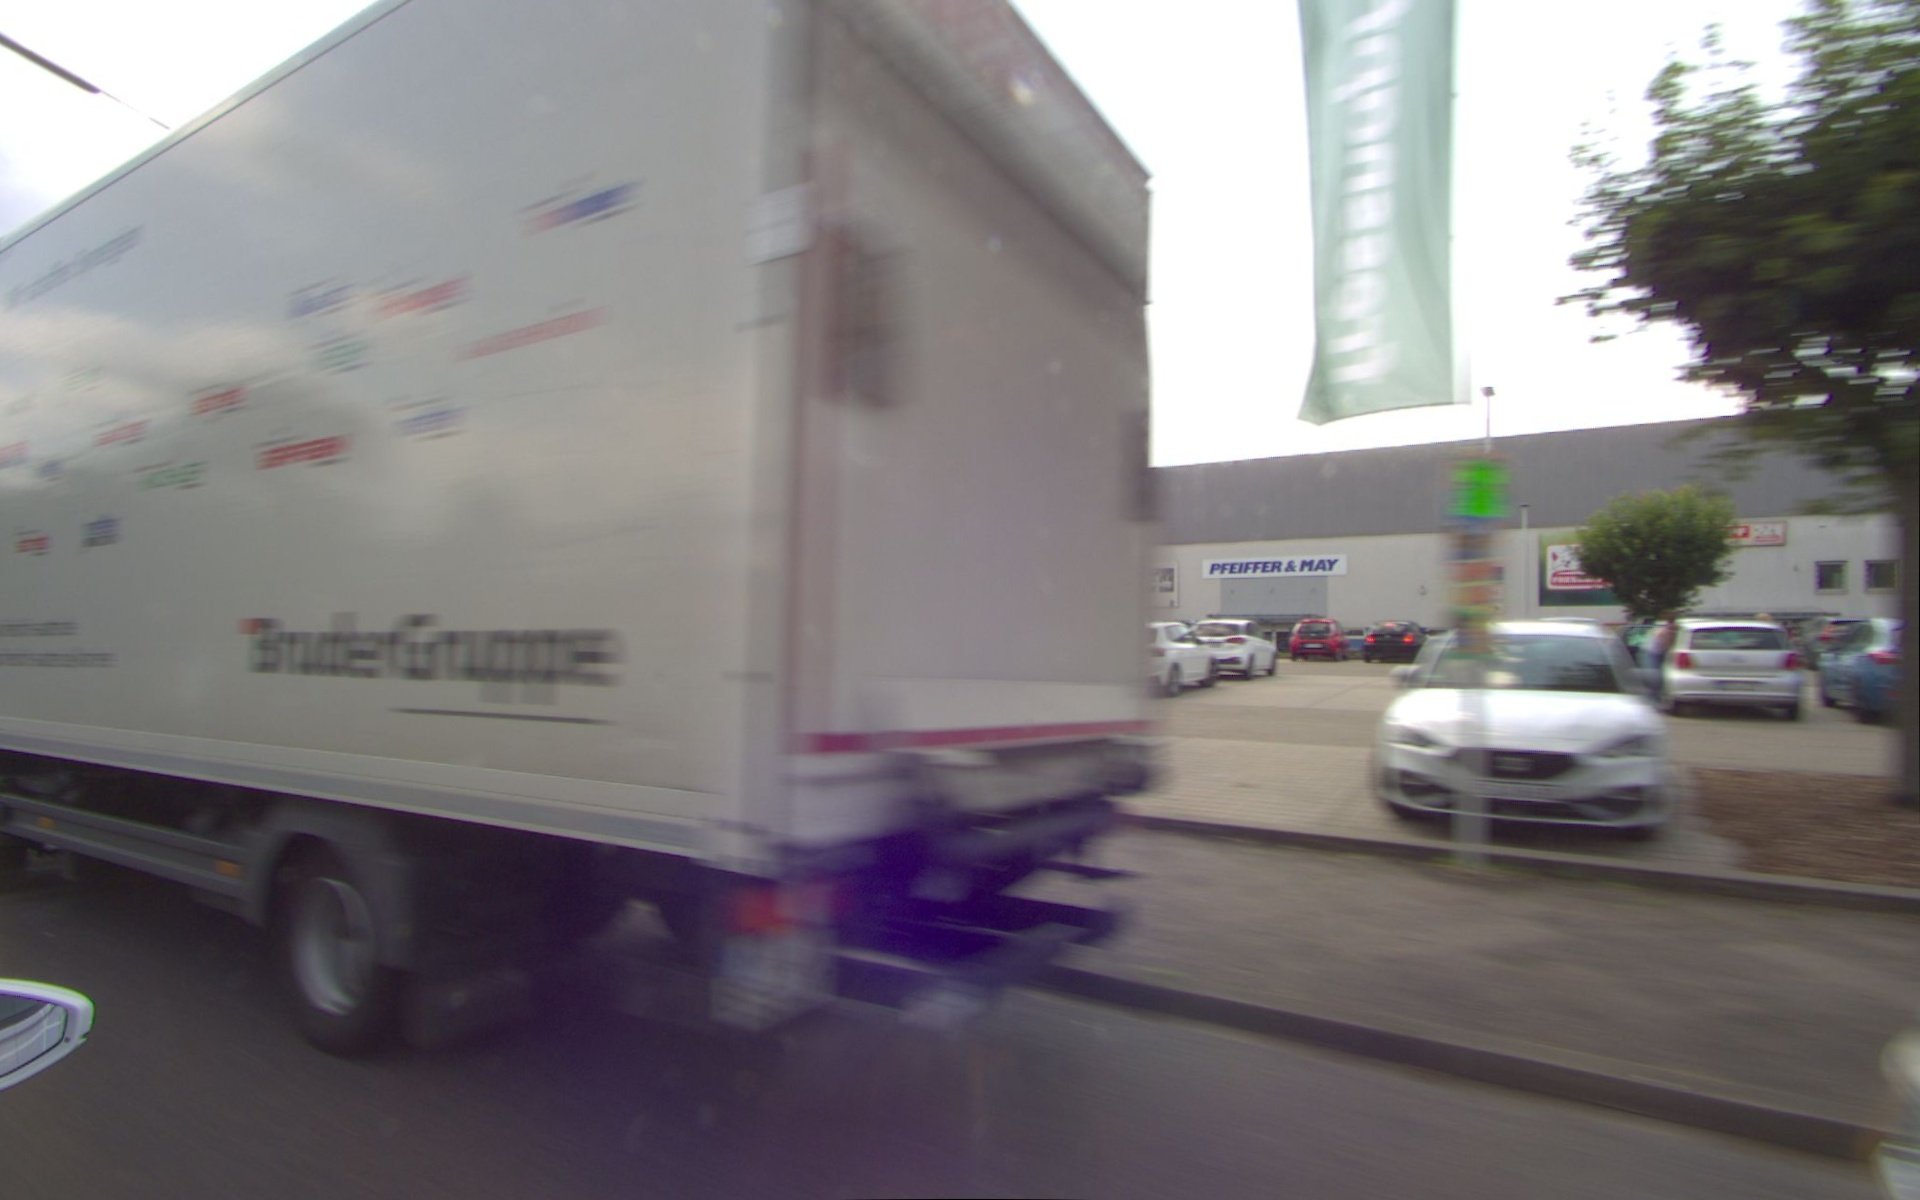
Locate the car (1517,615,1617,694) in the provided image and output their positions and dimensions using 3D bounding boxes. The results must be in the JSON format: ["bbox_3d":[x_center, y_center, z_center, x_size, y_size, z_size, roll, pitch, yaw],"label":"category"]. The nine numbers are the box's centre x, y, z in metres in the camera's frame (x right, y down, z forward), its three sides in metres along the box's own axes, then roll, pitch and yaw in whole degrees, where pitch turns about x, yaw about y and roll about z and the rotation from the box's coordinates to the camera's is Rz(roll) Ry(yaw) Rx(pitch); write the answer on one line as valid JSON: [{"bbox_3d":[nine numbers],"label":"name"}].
[{"bbox_3d":[12.959,1.086,21.549,1.698,1.503,3.930,-1,0,29],"label":"car"}]

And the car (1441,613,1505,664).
[{"bbox_3d":[16.732,1.204,32.570,1.698,1.503,4.001,-1,0,29],"label":"car"}]

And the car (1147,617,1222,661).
[{"bbox_3d":[8.474,1.423,37.602,1.698,1.503,3.917,-1,0,29],"label":"car"}]

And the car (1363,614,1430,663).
[{"bbox_3d":[14.814,1.259,33.883,1.698,1.503,4.018,-1,0,29],"label":"car"}]

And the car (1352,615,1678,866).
[{"bbox_3d":[4.630,0.879,8.357,1.831,1.456,4.474,-1,0,31],"label":"car"}]

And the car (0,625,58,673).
[{"bbox_3d":[-31.609,1.590,31.733,1.960,1.482,4.098,-1,0,29],"label":"car"}]

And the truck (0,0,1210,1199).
[{"bbox_3d":[-3.073,-0.430,5.486,8.161,4.166,2.775,-1,-4,33],"label":"truck"}]

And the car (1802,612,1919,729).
[{"bbox_3d":[13.913,0.944,14.665,1.698,1.503,3.930,-1,0,29],"label":"car"}]

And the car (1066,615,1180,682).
[{"bbox_3d":[4.405,1.209,26.626,1.714,1.598,4.052,-1,0,29],"label":"car"}]

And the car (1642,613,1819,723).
[{"bbox_3d":[12.215,0.989,16.121,1.698,1.503,3.930,-1,0,29],"label":"car"}]

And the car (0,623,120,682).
[{"bbox_3d":[-25.360,1.394,26.712,1.779,1.449,4.175,-1,0,29],"label":"car"}]

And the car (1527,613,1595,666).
[{"bbox_3d":[18.810,1.194,31.467,1.698,1.503,4.009,-1,0,29],"label":"car"}]

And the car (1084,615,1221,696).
[{"bbox_3d":[4.153,1.093,21.164,1.698,1.503,3.930,-1,0,29],"label":"car"}]

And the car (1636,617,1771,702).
[{"bbox_3d":[14.968,1.127,20.353,1.698,1.503,3.930,-1,0,29],"label":"car"}]

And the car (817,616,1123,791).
[{"bbox_3d":[0.312,0.911,10.609,1.721,1.451,3.882,-1,0,27],"label":"car"}]

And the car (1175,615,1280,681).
[{"bbox_3d":[6.948,1.164,25.735,1.698,1.503,3.930,-1,0,29],"label":"car"}]

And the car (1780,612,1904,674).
[{"bbox_3d":[23.711,1.093,27.061,1.698,1.503,4.027,-1,0,29],"label":"car"}]

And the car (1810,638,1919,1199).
[{"bbox_3d":[3.566,0.831,1.249,3.572,1.530,1.544,-1,-4,31],"label":"car"}]

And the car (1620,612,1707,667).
[{"bbox_3d":[20.918,1.124,29.922,1.698,1.503,4.126,-1,0,29],"label":"car"}]

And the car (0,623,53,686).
[{"bbox_3d":[-24.380,1.344,24.049,1.666,1.489,3.588,-1,0,36],"label":"car"}]

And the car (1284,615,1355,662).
[{"bbox_3d":[12.785,1.324,35.473,1.698,1.503,4.026,-1,0,29],"label":"car"}]

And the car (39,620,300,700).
[{"bbox_3d":[-16.502,1.181,21.119,1.769,1.429,3.947,-1,0,29],"label":"car"}]
